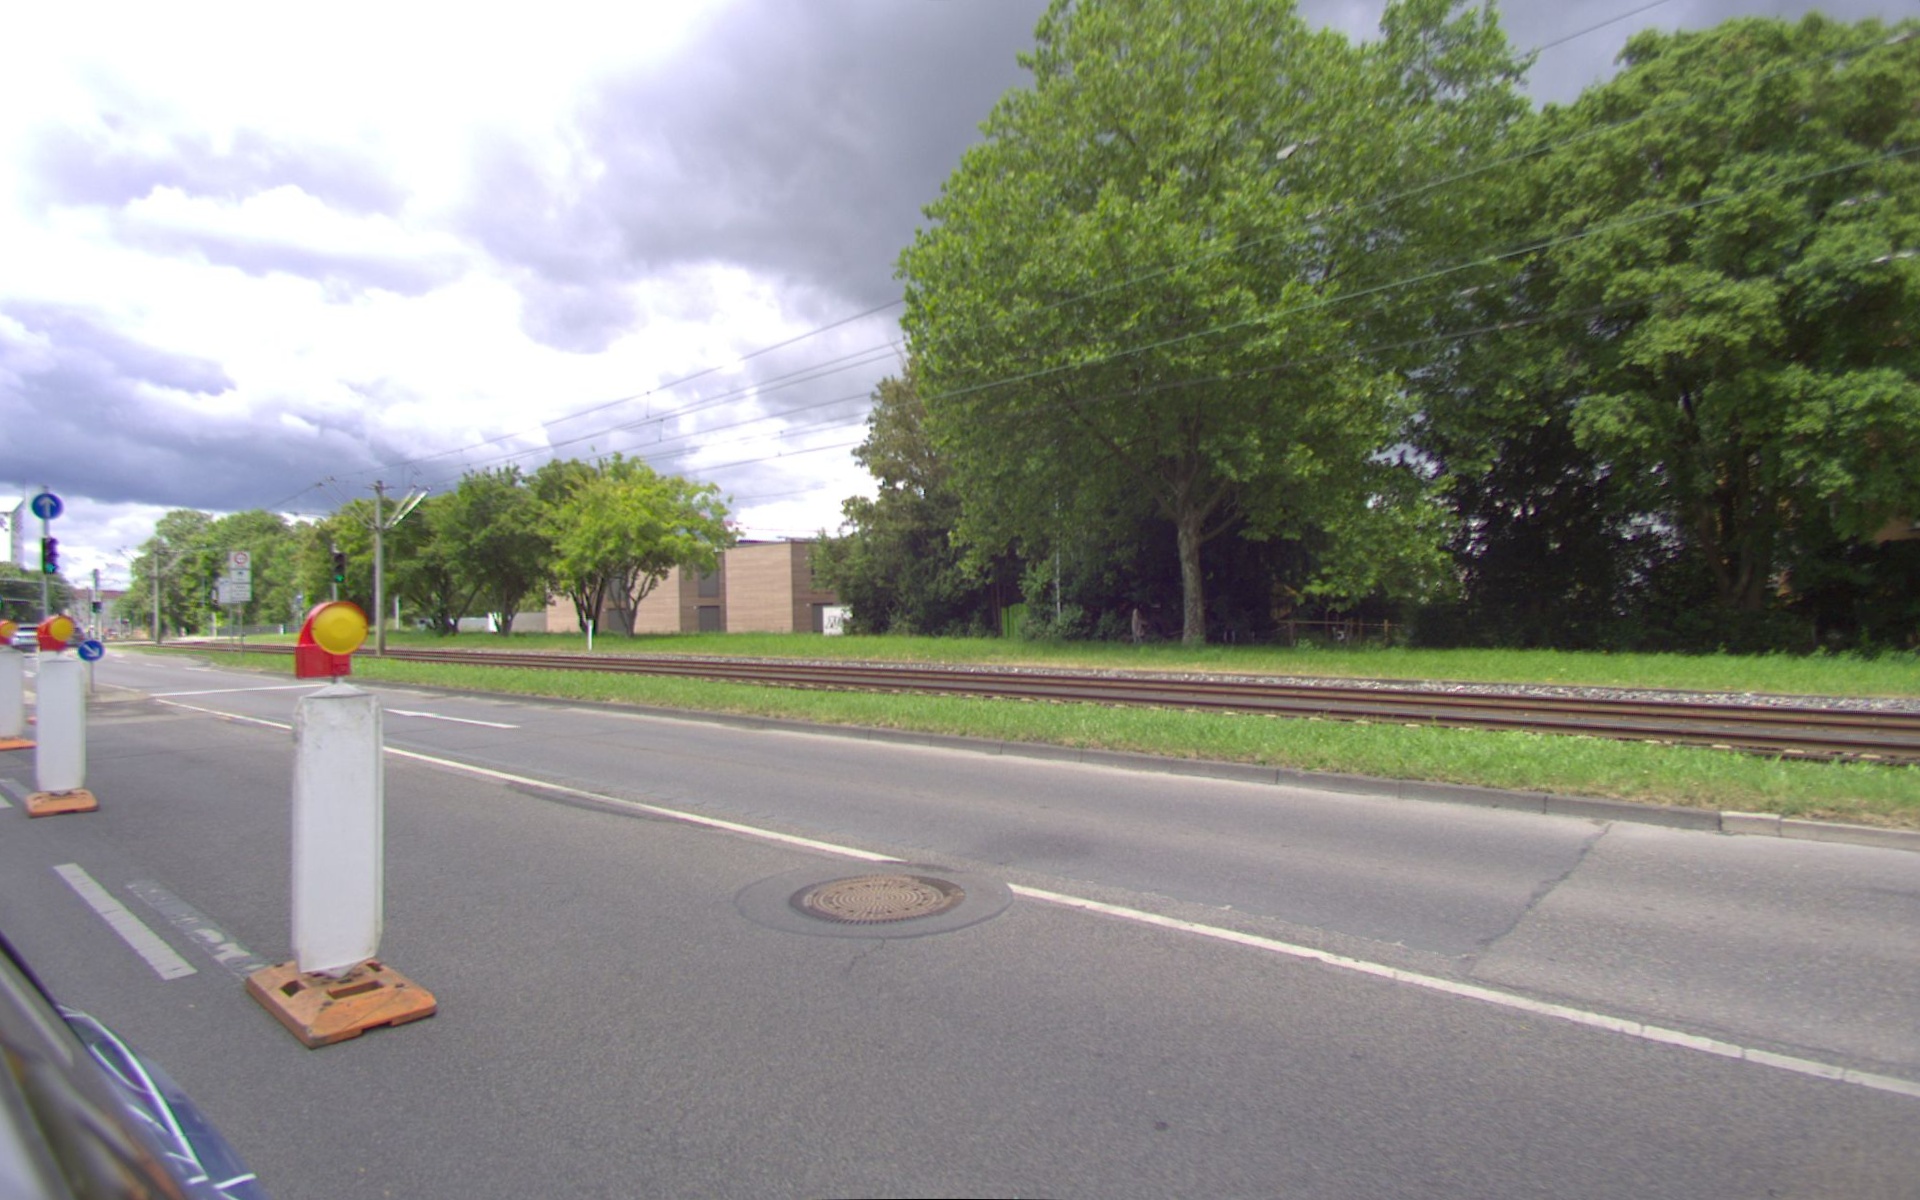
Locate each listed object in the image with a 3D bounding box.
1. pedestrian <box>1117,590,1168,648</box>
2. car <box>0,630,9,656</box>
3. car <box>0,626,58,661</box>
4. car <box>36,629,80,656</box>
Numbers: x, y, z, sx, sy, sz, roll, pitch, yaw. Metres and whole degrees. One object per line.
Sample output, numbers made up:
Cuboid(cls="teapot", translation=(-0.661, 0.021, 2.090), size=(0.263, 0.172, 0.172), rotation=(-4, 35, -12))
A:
Cuboid(cls="pedestrian", translation=(6.231, 0.639, 34.576), size=(1.363, 1.948, 1.023), rotation=(-2, -1, 43))
Cuboid(cls="car", translation=(-63.966, 2.850, 66.460), size=(4.261, 1.624, 1.711), rotation=(-1, 1, 41))
Cuboid(cls="car", translation=(-46.464, 2.137, 50.454), size=(4.608, 1.622, 1.839), rotation=(-1, -2, 44))
Cuboid(cls="car", translation=(-60.626, 2.809, 68.022), size=(1.971, 1.672, 4.525), rotation=(-1, 0, -45))
